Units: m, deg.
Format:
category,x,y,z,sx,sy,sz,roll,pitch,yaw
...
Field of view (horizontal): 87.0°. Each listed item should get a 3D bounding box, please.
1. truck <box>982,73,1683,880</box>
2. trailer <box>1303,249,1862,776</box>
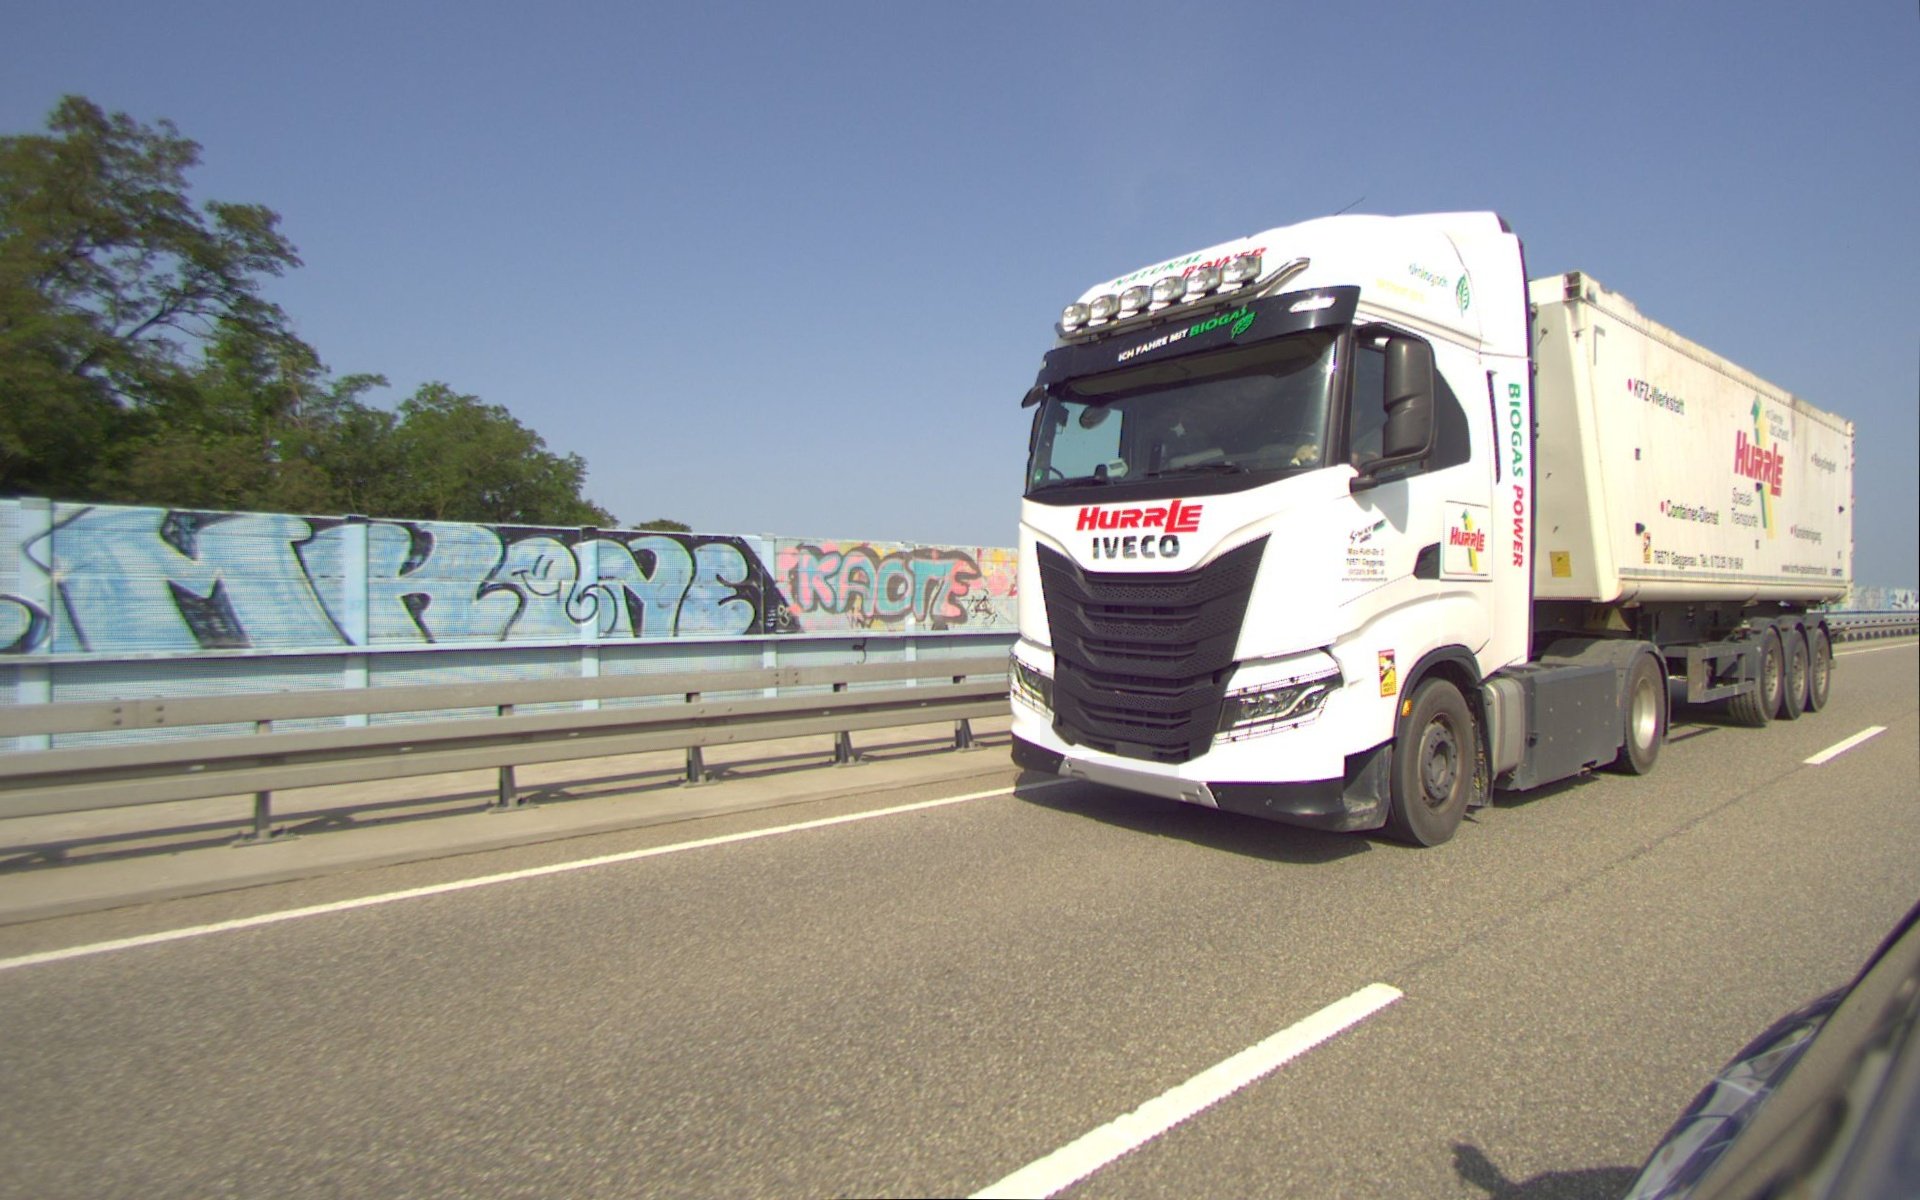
category,x,y,z,sx,sy,sz,roll,pitch,yaw
truck,3.123,-0.640,7.774,5.548,3.945,2.664,-1,0,-40
trailer,7.759,-0.708,11.706,9.501,3.956,2.684,-1,0,-40
